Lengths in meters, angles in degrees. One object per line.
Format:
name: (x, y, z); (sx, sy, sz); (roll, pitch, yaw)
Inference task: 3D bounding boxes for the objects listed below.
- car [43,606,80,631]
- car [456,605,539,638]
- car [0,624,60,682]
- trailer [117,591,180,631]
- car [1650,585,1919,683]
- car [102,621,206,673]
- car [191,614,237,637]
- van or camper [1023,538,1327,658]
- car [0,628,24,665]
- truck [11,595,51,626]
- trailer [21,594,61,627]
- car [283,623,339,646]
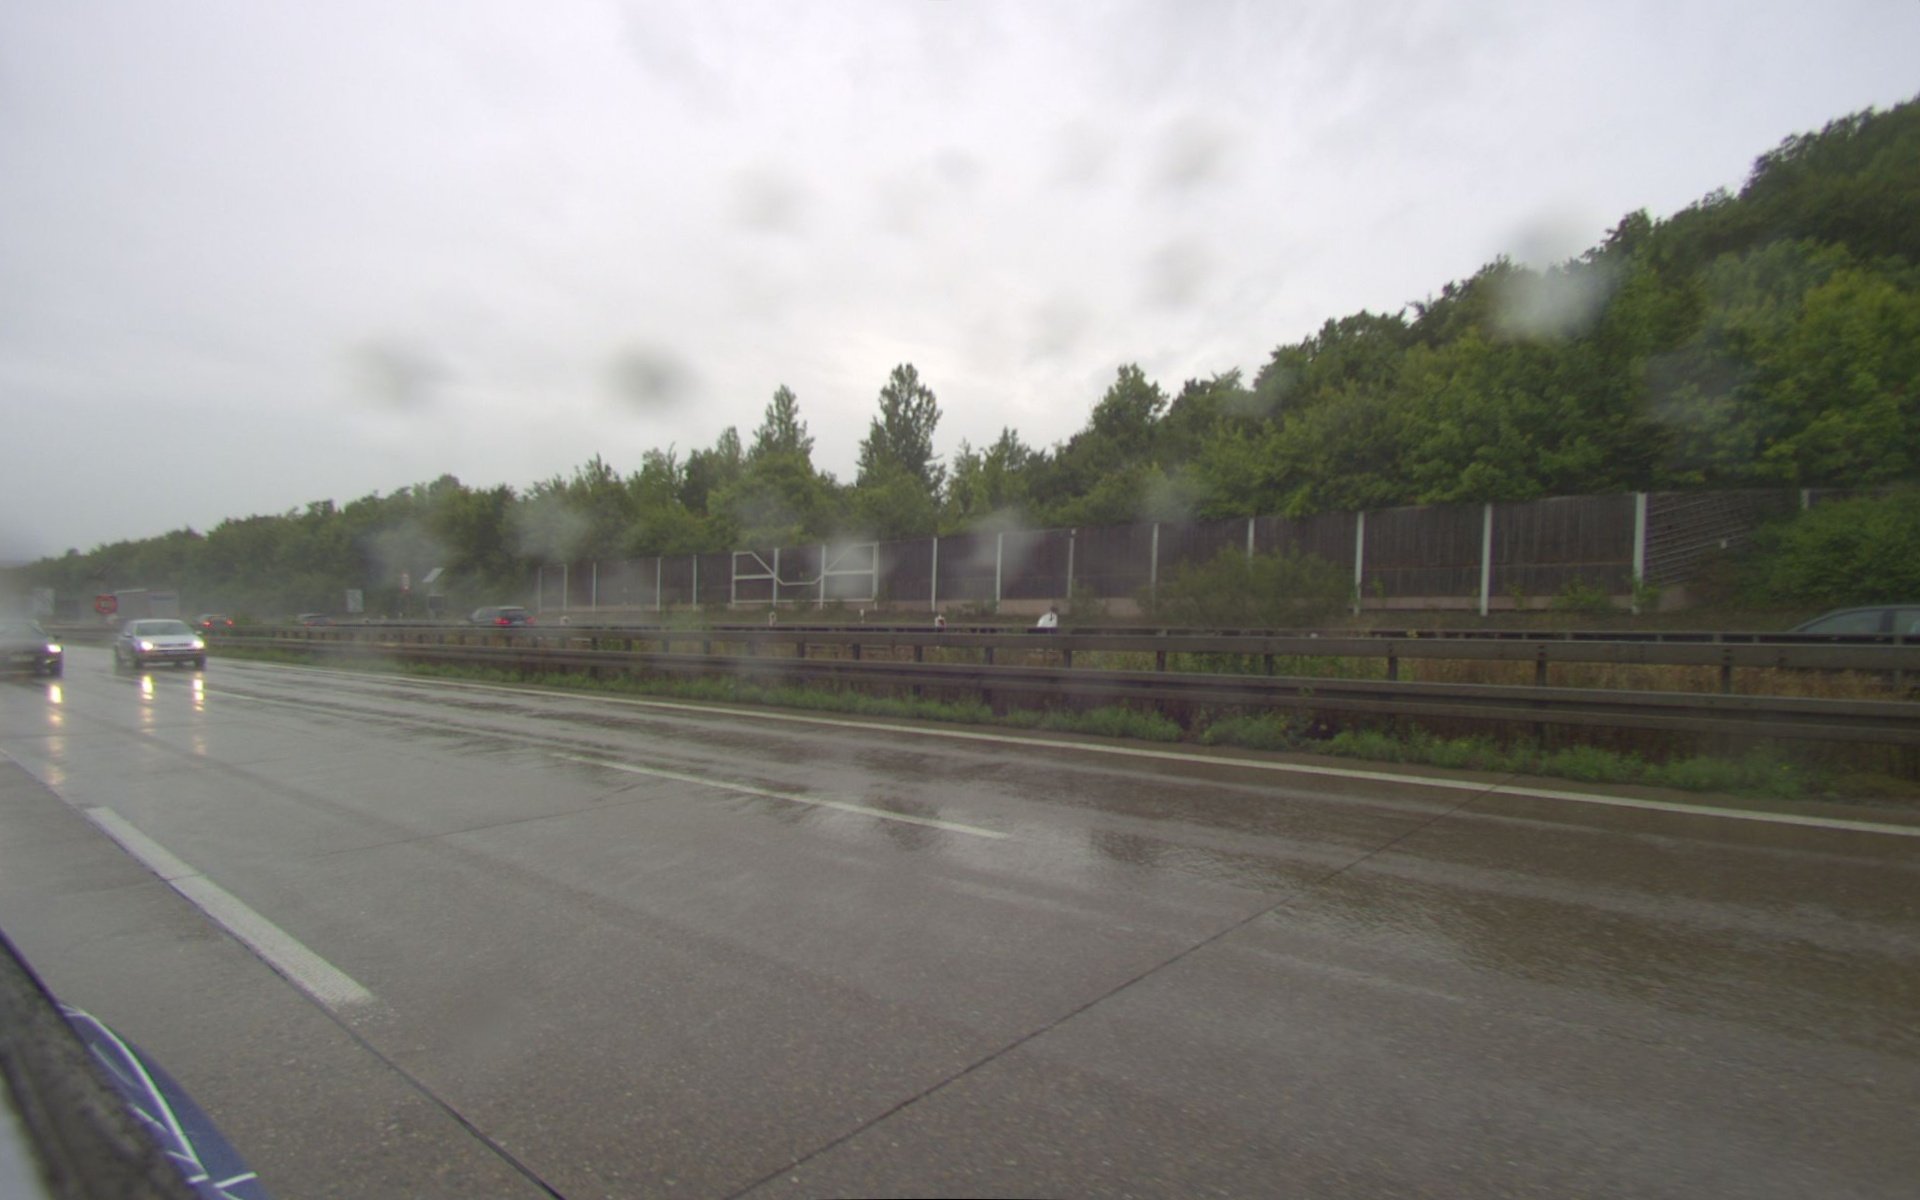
car: (-101.525, 2.091, 114.296); (7.442, 2.586, 2.160); (-2, 1, 42)
car: (-20.918, 0.977, 45.718); (4.341, 1.313, 1.735); (-2, 1, 41)
car: (-25.439, 1.349, 26.804); (4.517, 1.445, 1.908); (-1, -2, 42)
trailer: (-83.455, 1.221, 103.993); (13.773, 3.830, 2.738); (-2, 1, 42)
car: (13.162, 0.478, 15.290); (4.341, 1.313, 1.735); (-2, 1, 41)
car: (-24.749, 1.400, 31.030); (4.346, 1.445, 1.650); (-1, -1, 40)
car: (-56.551, 1.918, 76.685); (3.998, 1.696, 1.973); (-1, -1, 41)
van or camper: (5.376, 0.011, 26.442); (7.497, 2.738, 2.529); (-1, -1, 42)
car: (-40.104, 1.881, 41.582); (4.515, 1.445, 1.909); (-1, -2, 41)
truck: (-129.890, 1.510, 141.456); (10.172, 4.185, 2.819); (-2, 1, 41)
trailer: (-122.862, 1.398, 135.277); (8.520, 4.185, 2.819); (-2, 1, 41)
car: (-40.553, 2.149, 63.229); (4.341, 1.313, 1.735); (-2, 1, 41)
